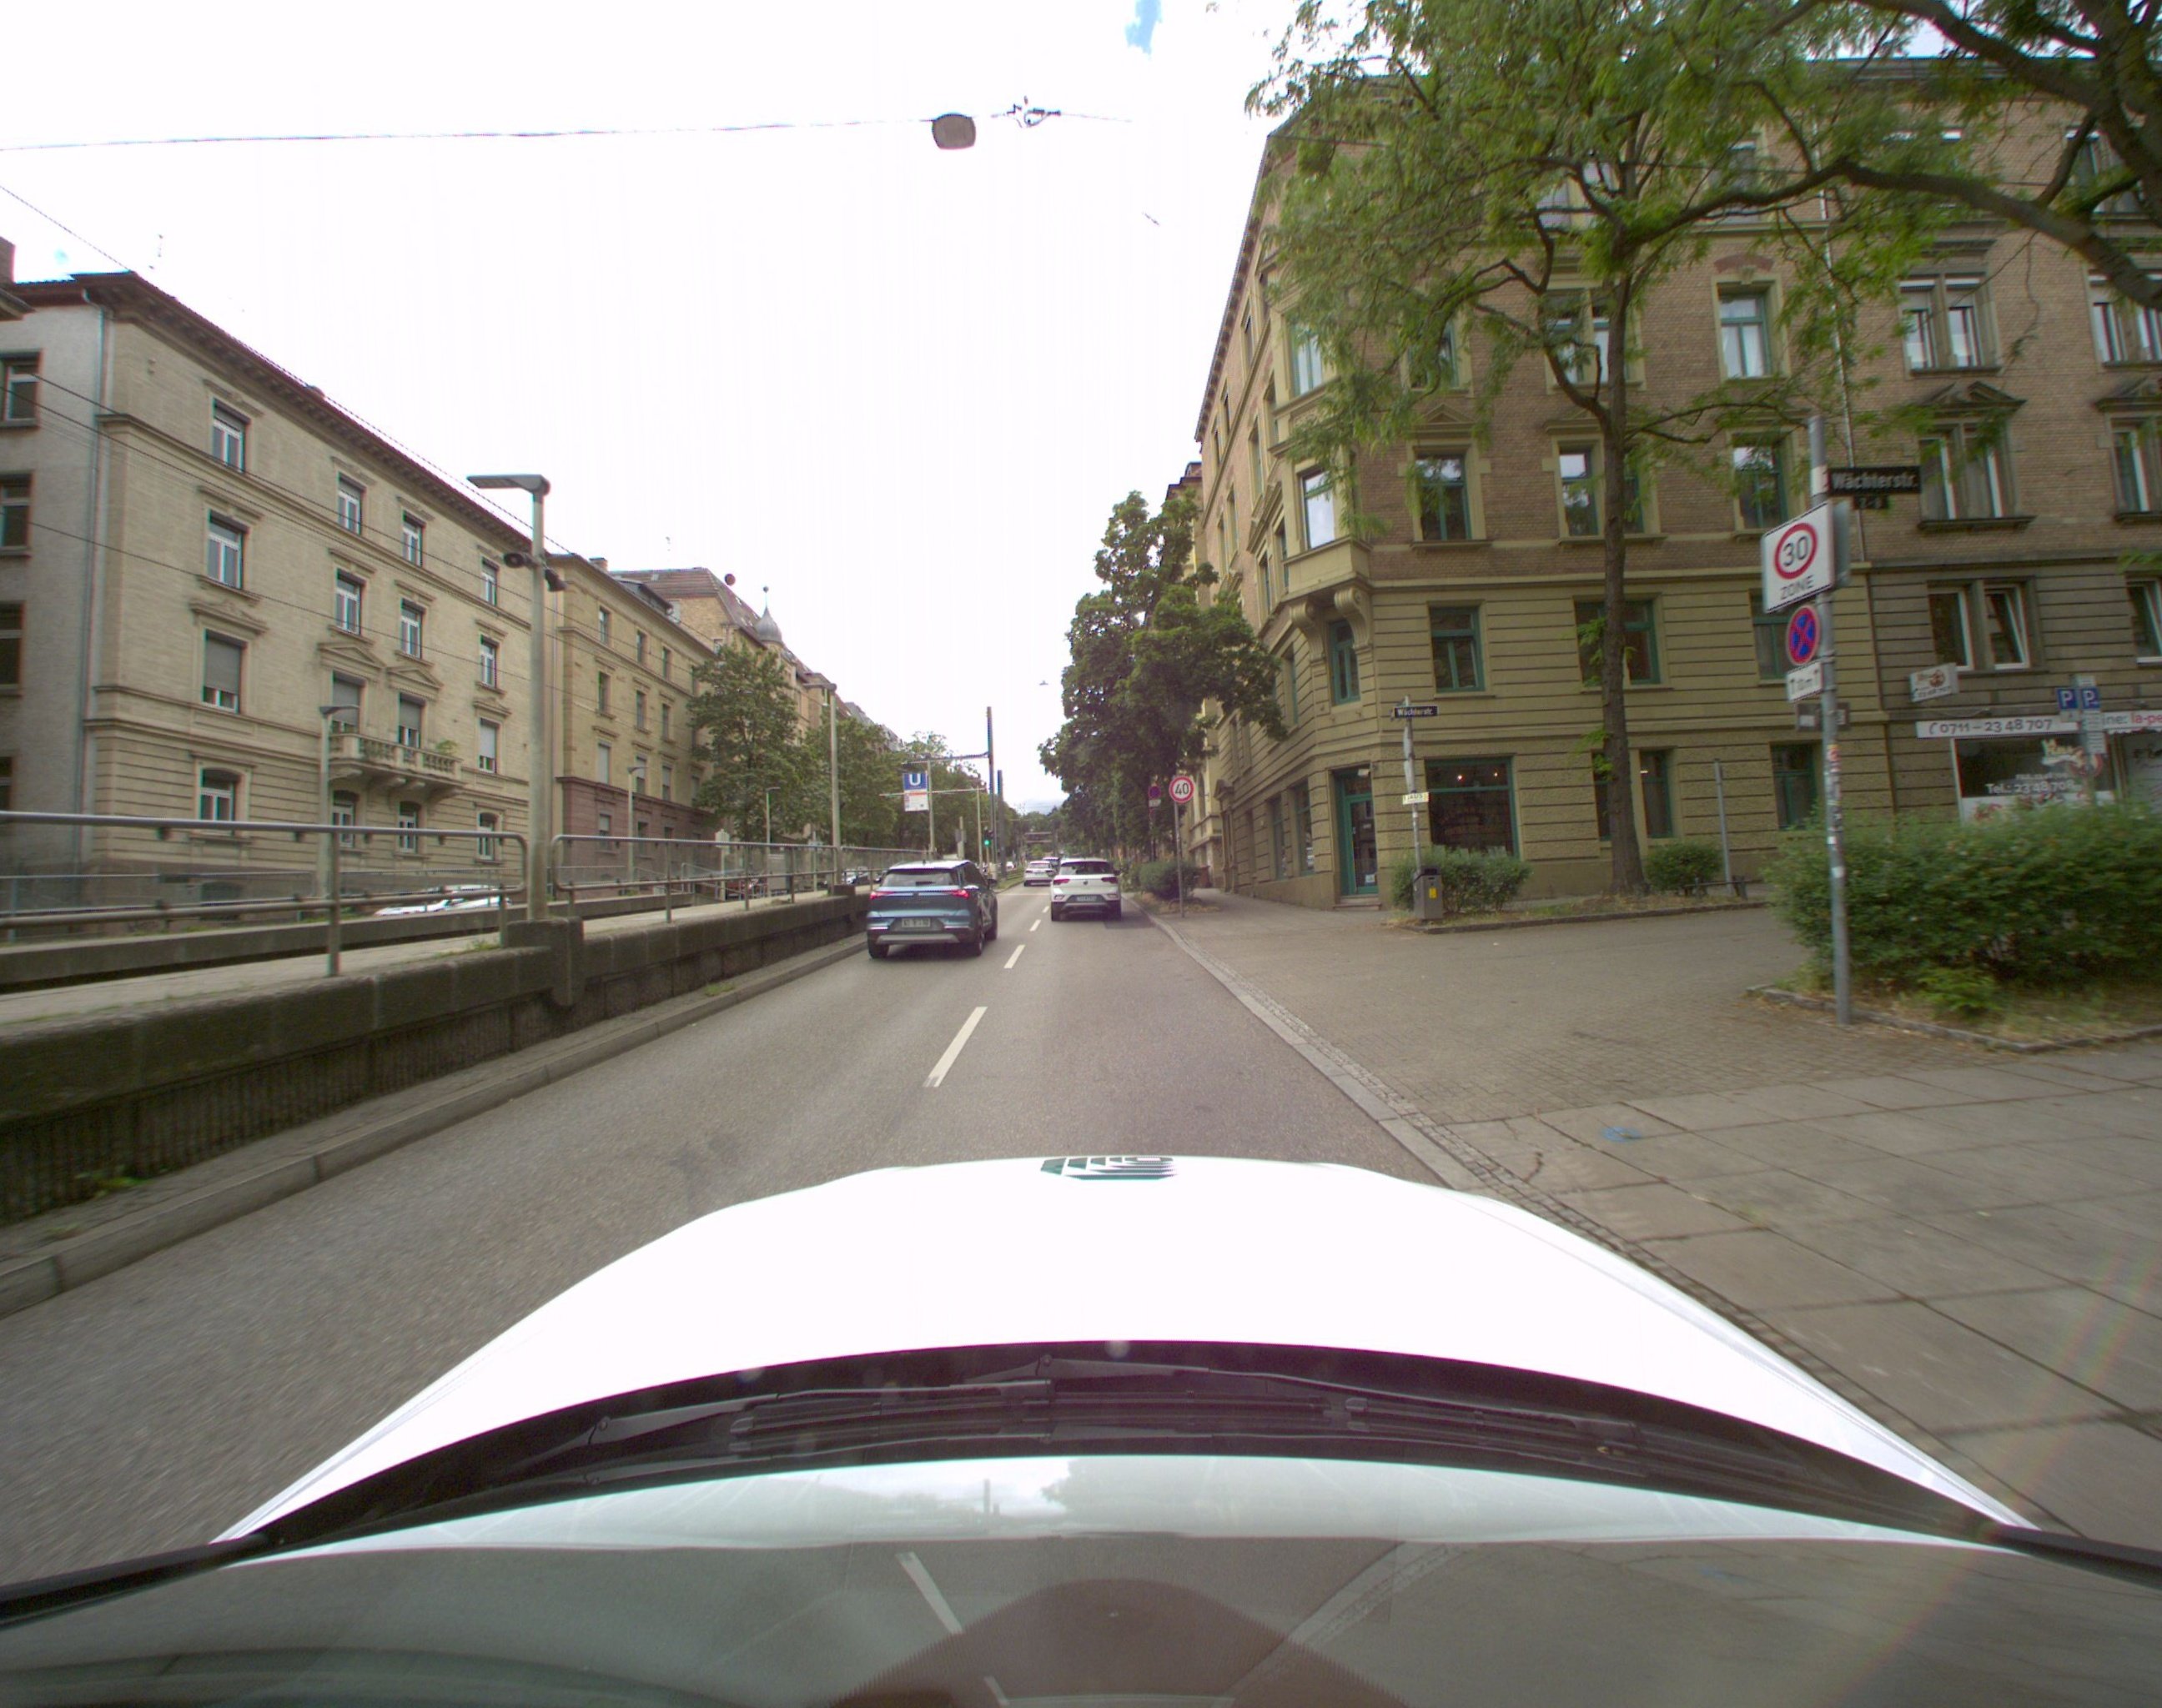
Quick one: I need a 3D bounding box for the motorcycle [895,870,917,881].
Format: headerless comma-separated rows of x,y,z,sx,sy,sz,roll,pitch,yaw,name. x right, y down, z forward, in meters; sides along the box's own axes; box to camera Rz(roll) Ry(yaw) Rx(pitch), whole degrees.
-18.061,2.236,84.100,2.215,1.058,0.618,0,-2,-35,motorcycle

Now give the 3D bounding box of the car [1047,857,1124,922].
0.072,0.879,21.697,1.830,1.546,4.191,-1,-1,-1,car

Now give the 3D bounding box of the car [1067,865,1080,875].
-1.176,2.516,129.636,2.062,1.546,4.191,-1,-1,-1,car

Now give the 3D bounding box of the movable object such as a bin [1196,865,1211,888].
5.037,0.937,33.524,0.496,0.919,0.446,-3,0,19,movable object such as a bin

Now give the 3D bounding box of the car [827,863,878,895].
-13.826,1.456,49.478,1.703,1.735,4.576,-3,0,0,car

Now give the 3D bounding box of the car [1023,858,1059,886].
-2.327,1.029,48.150,1.829,1.546,4.193,-1,-1,0,car

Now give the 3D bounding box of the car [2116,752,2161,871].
21.267,-0.989,13.594,5.231,2.014,1.981,-4,-6,-1,car

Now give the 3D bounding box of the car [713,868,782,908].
-17.328,1.733,42.560,1.843,1.860,4.137,-3,0,-1,car

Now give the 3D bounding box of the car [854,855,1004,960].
-2.492,0.839,14.386,1.829,1.546,4.193,-1,-1,0,car

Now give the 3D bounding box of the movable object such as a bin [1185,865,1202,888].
4.810,0.942,34.766,0.609,0.919,0.493,-4,-1,2,movable object such as a bin

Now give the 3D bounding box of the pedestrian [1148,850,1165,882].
3.878,0.593,41.931,0.683,1.574,1.216,-4,-1,0,pedestrian

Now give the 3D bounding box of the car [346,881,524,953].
-18.576,1.755,23.694,1.930,1.679,3.999,-3,0,0,car

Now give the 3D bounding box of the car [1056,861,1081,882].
-0.983,1.389,64.712,1.829,1.546,4.193,-1,-1,0,car

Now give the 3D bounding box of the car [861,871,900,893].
-14.904,2.054,60.771,1.672,1.447,4.218,-3,-1,1,car

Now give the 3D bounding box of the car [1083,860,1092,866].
1.566,2.203,197.796,2.064,1.546,4.187,-1,-1,-4,car

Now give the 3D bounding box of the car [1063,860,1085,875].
-0.737,1.435,86.137,2.064,1.546,4.187,-1,-1,-4,car

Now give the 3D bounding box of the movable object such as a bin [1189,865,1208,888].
4.933,0.937,34.178,0.504,0.919,0.487,-4,-1,-42,movable object such as a bin

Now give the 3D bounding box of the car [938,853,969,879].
-14.287,1.379,91.883,2.385,2.699,6.515,-4,-1,-1,car

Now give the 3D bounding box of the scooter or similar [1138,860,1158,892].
2.838,0.922,34.657,0.660,1.304,1.383,-4,-1,0,scooter or similar

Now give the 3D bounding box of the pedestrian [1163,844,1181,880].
4.692,0.414,41.964,0.683,1.829,1.121,-4,-1,0,pedestrian

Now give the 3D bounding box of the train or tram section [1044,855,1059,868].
-7.590,1.955,210.263,2.985,3.349,13.439,-2,-1,1,train or tram section
